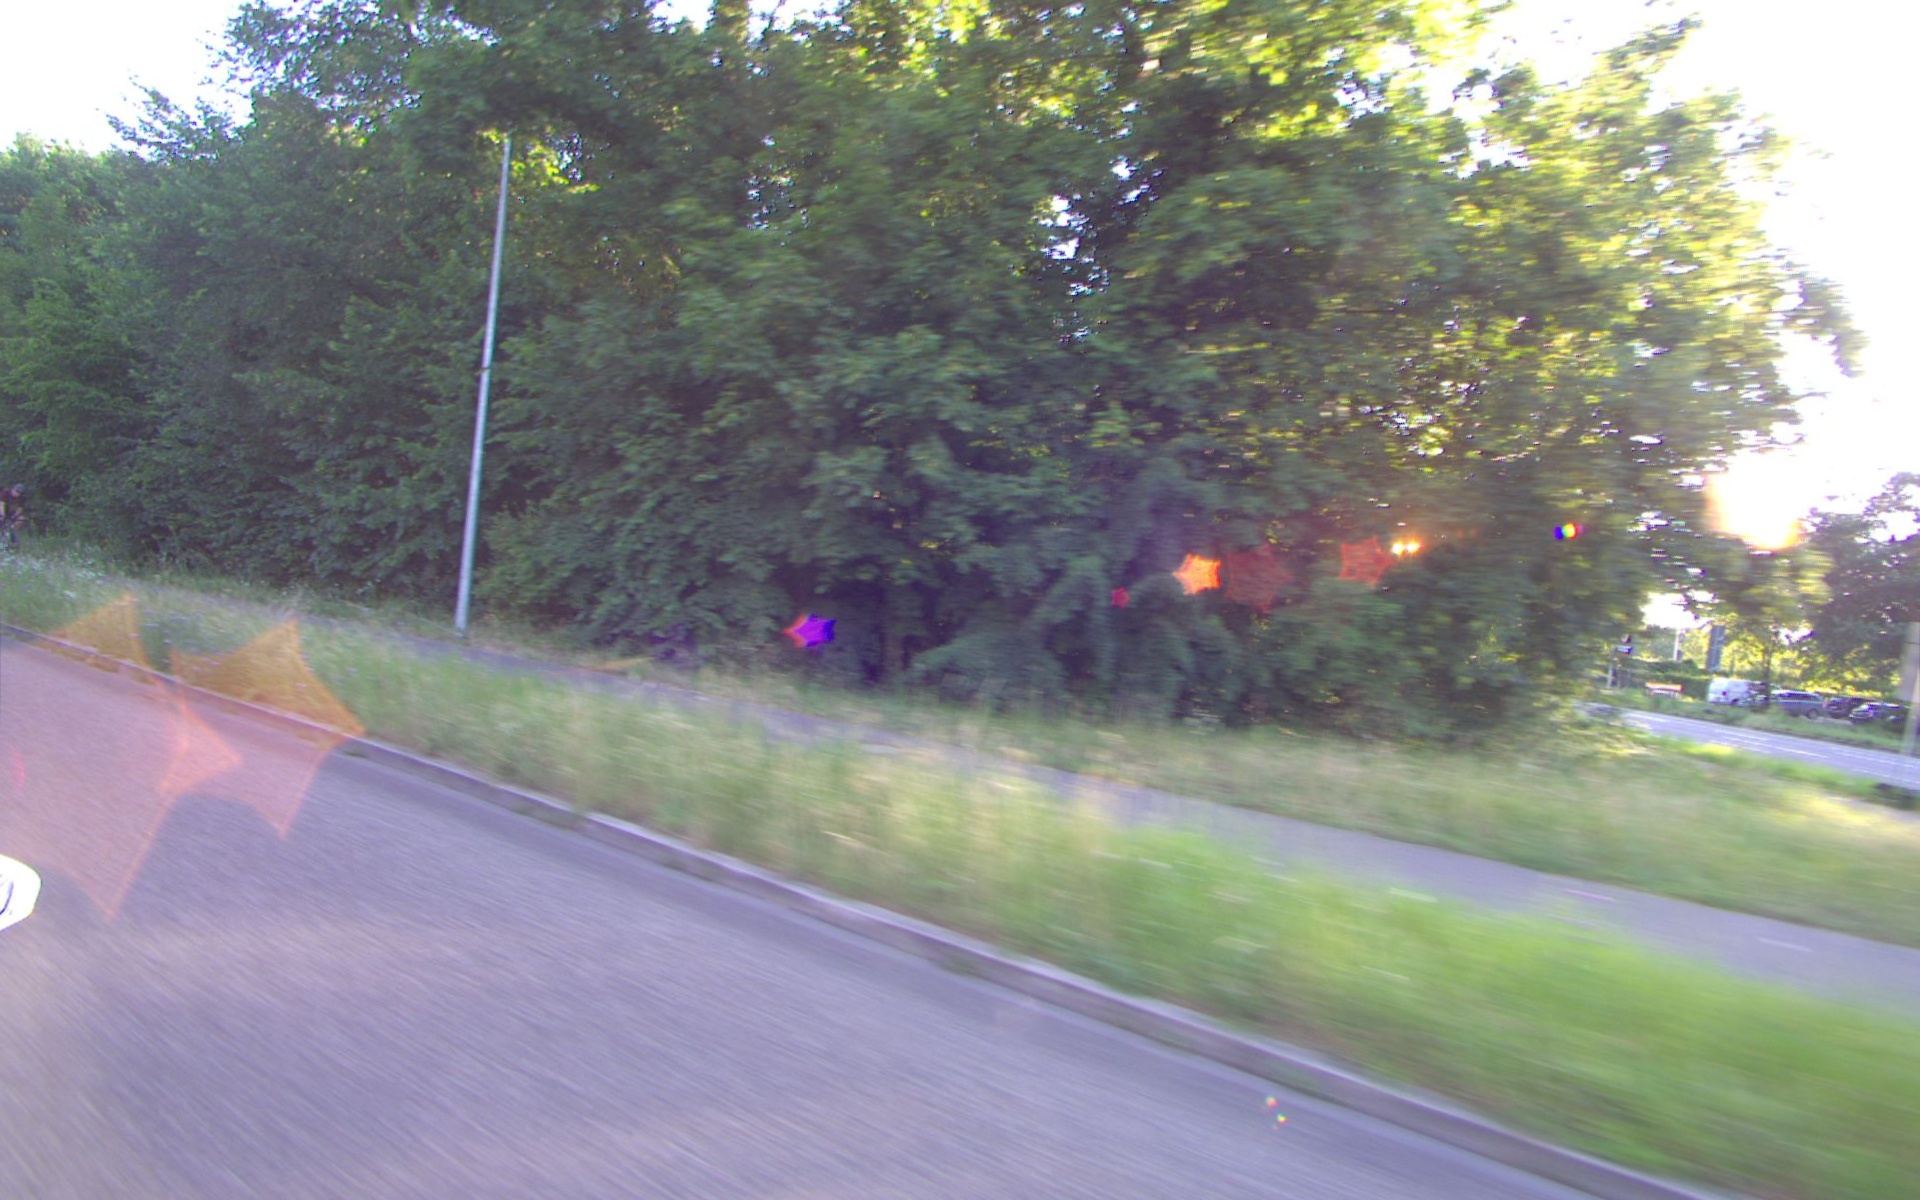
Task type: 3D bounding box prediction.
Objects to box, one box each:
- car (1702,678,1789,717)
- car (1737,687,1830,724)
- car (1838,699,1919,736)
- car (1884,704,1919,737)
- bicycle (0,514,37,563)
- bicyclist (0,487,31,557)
[{"bbox_3d":[51.195,6.342,65.635,3.923,1.888,1.826,6,1,10],"label":"car"},{"bbox_3d":[51.098,6.516,62.512,3.923,1.658,1.826,6,0,10],"label":"car"},{"bbox_3d":[49.954,6.335,53.788,4.091,1.497,1.784,6,0,7],"label":"car"},{"bbox_3d":[49.782,6.310,50.868,4.091,1.497,1.784,6,0,7],"label":"car"},{"bbox_3d":[-21.239,-1.396,22.393,1.664,1.008,0.611,6,1,34],"label":"bicycle"},{"bbox_3d":[-21.301,-1.757,22.442,0.767,1.474,0.603,7,2,33],"label":"bicyclist"}]
